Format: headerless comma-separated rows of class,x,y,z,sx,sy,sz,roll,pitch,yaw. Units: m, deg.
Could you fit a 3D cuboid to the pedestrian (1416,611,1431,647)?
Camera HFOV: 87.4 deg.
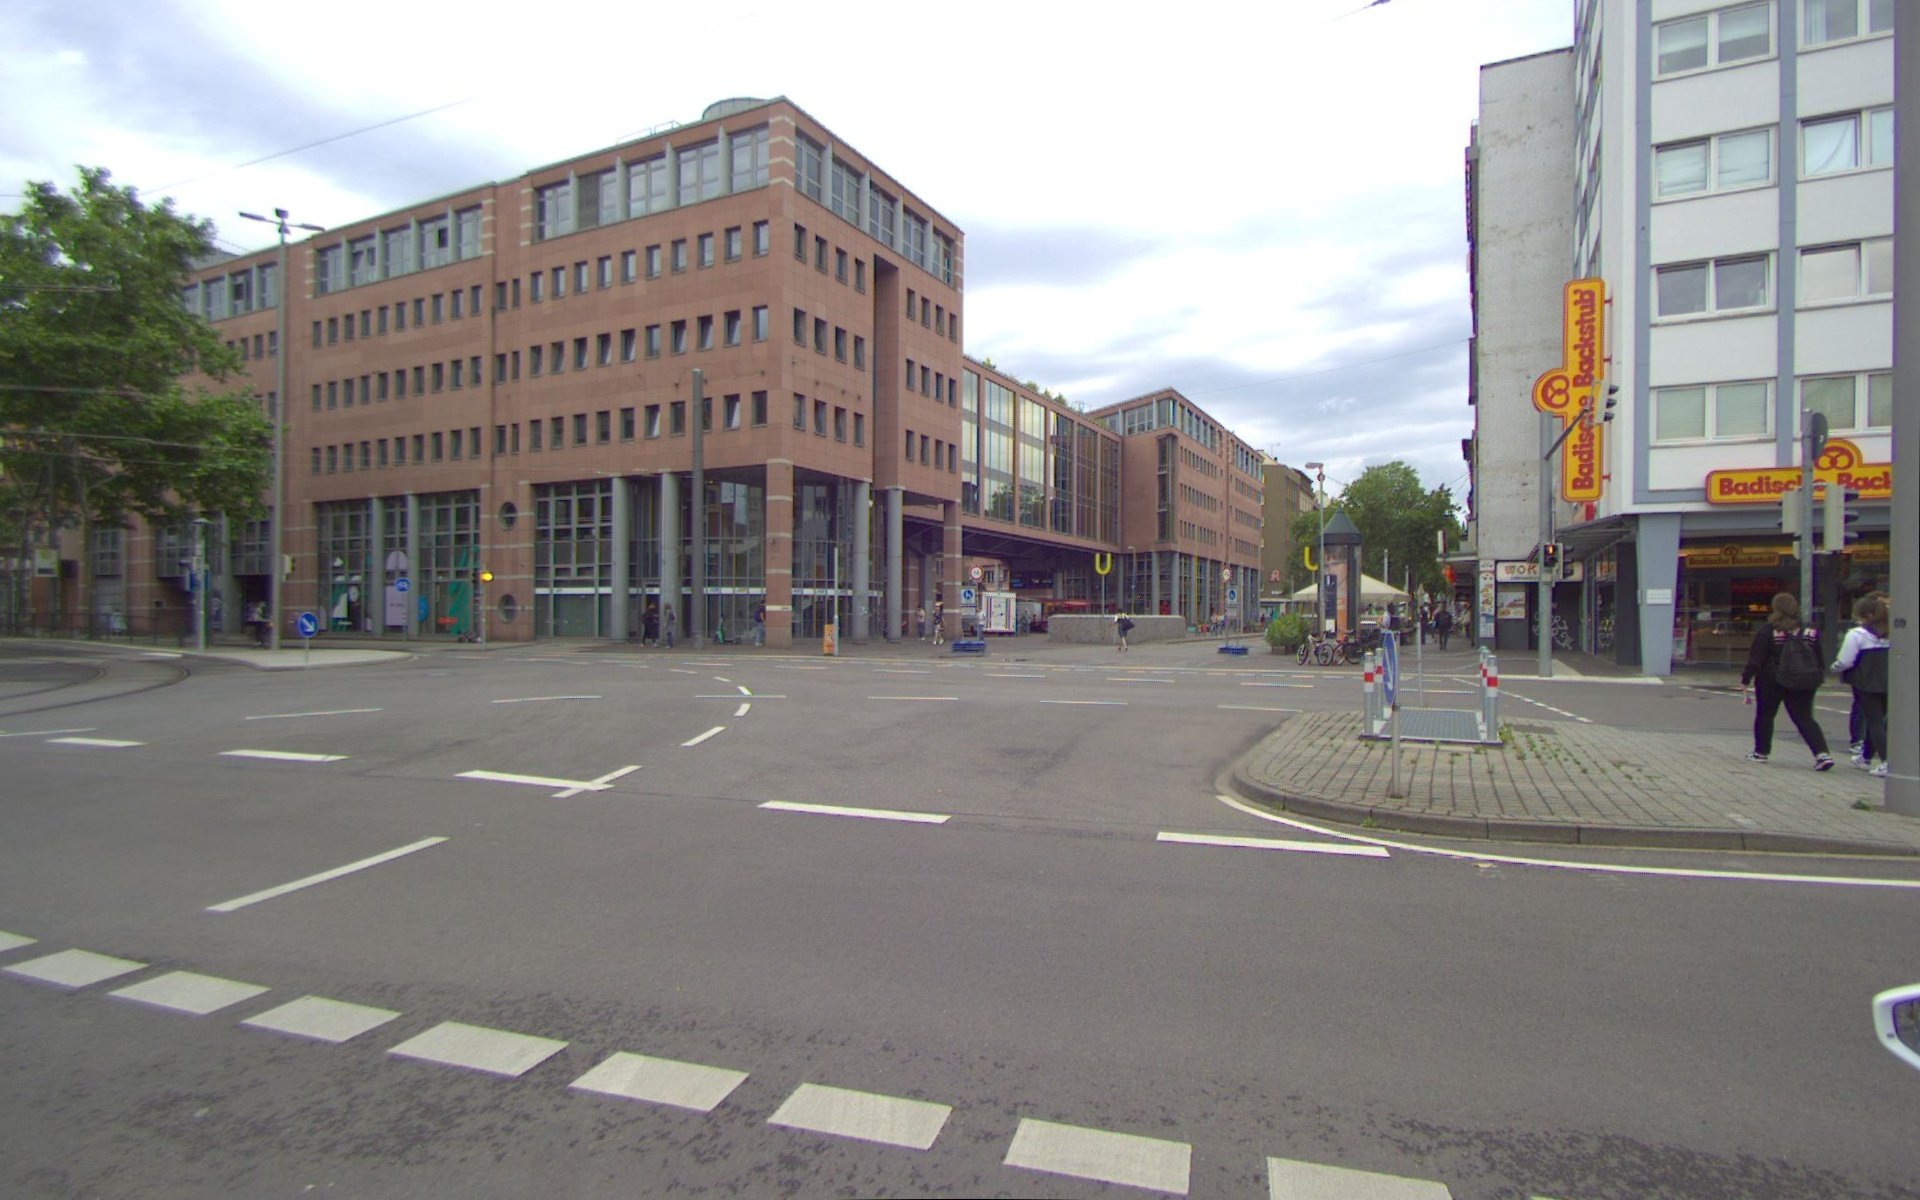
pedestrian,23.012,1.432,49.840,0.633,1.727,0.558,1,0,29

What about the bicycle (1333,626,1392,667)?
bicycle,12.411,1.419,30.986,1.668,1.187,0.437,1,0,21

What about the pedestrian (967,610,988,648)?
pedestrian,0.884,1.413,49.492,0.729,1.866,0.693,1,0,-43

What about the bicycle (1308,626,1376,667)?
bicycle,11.587,1.397,30.501,1.835,1.187,0.531,1,0,14

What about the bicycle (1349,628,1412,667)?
bicycle,12.574,1.415,30.043,1.673,1.080,0.436,1,0,35

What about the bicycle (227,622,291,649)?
bicycle,-29.778,1.489,42.659,3.219,1.058,0.903,0,-1,29

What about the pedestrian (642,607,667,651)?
pedestrian,-12.022,1.141,39.515,0.729,1.710,0.574,2,-1,1

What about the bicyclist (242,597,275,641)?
bicyclist,-29.829,0.819,42.725,0.862,1.836,0.835,1,0,30

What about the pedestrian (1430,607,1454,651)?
pedestrian,19.105,1.132,39.801,0.701,1.727,0.731,1,0,40

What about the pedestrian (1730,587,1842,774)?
pedestrian,8.263,0.774,10.083,0.611,1.785,0.780,1,0,20

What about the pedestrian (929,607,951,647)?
pedestrian,-0.951,1.249,46.903,0.730,1.866,0.693,1,0,-45

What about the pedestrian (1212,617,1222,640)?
pedestrian,17.721,1.940,69.342,0.590,1.557,0.655,1,0,20

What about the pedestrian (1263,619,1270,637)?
pedestrian,30.134,2.785,98.765,0.590,1.737,0.655,1,0,20

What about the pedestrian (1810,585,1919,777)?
pedestrian,8.872,0.758,9.812,0.611,1.785,0.780,1,0,20

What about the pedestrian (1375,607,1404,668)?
pedestrian,12.650,1.098,29.584,0.720,1.769,0.663,1,0,20

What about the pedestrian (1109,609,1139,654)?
pedestrian,6.479,1.225,39.684,0.729,1.727,0.917,1,0,-43

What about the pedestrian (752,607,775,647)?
pedestrian,-7.946,1.092,40.593,0.729,1.581,0.574,2,-1,1

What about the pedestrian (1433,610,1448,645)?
pedestrian,25.620,1.439,53.586,0.726,1.846,0.661,0,-1,25

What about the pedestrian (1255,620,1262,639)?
pedestrian,27.132,2.672,91.268,0.590,1.737,0.655,1,0,20

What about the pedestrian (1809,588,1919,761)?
pedestrian,10.309,0.810,11.385,0.701,1.856,1.017,1,0,20
